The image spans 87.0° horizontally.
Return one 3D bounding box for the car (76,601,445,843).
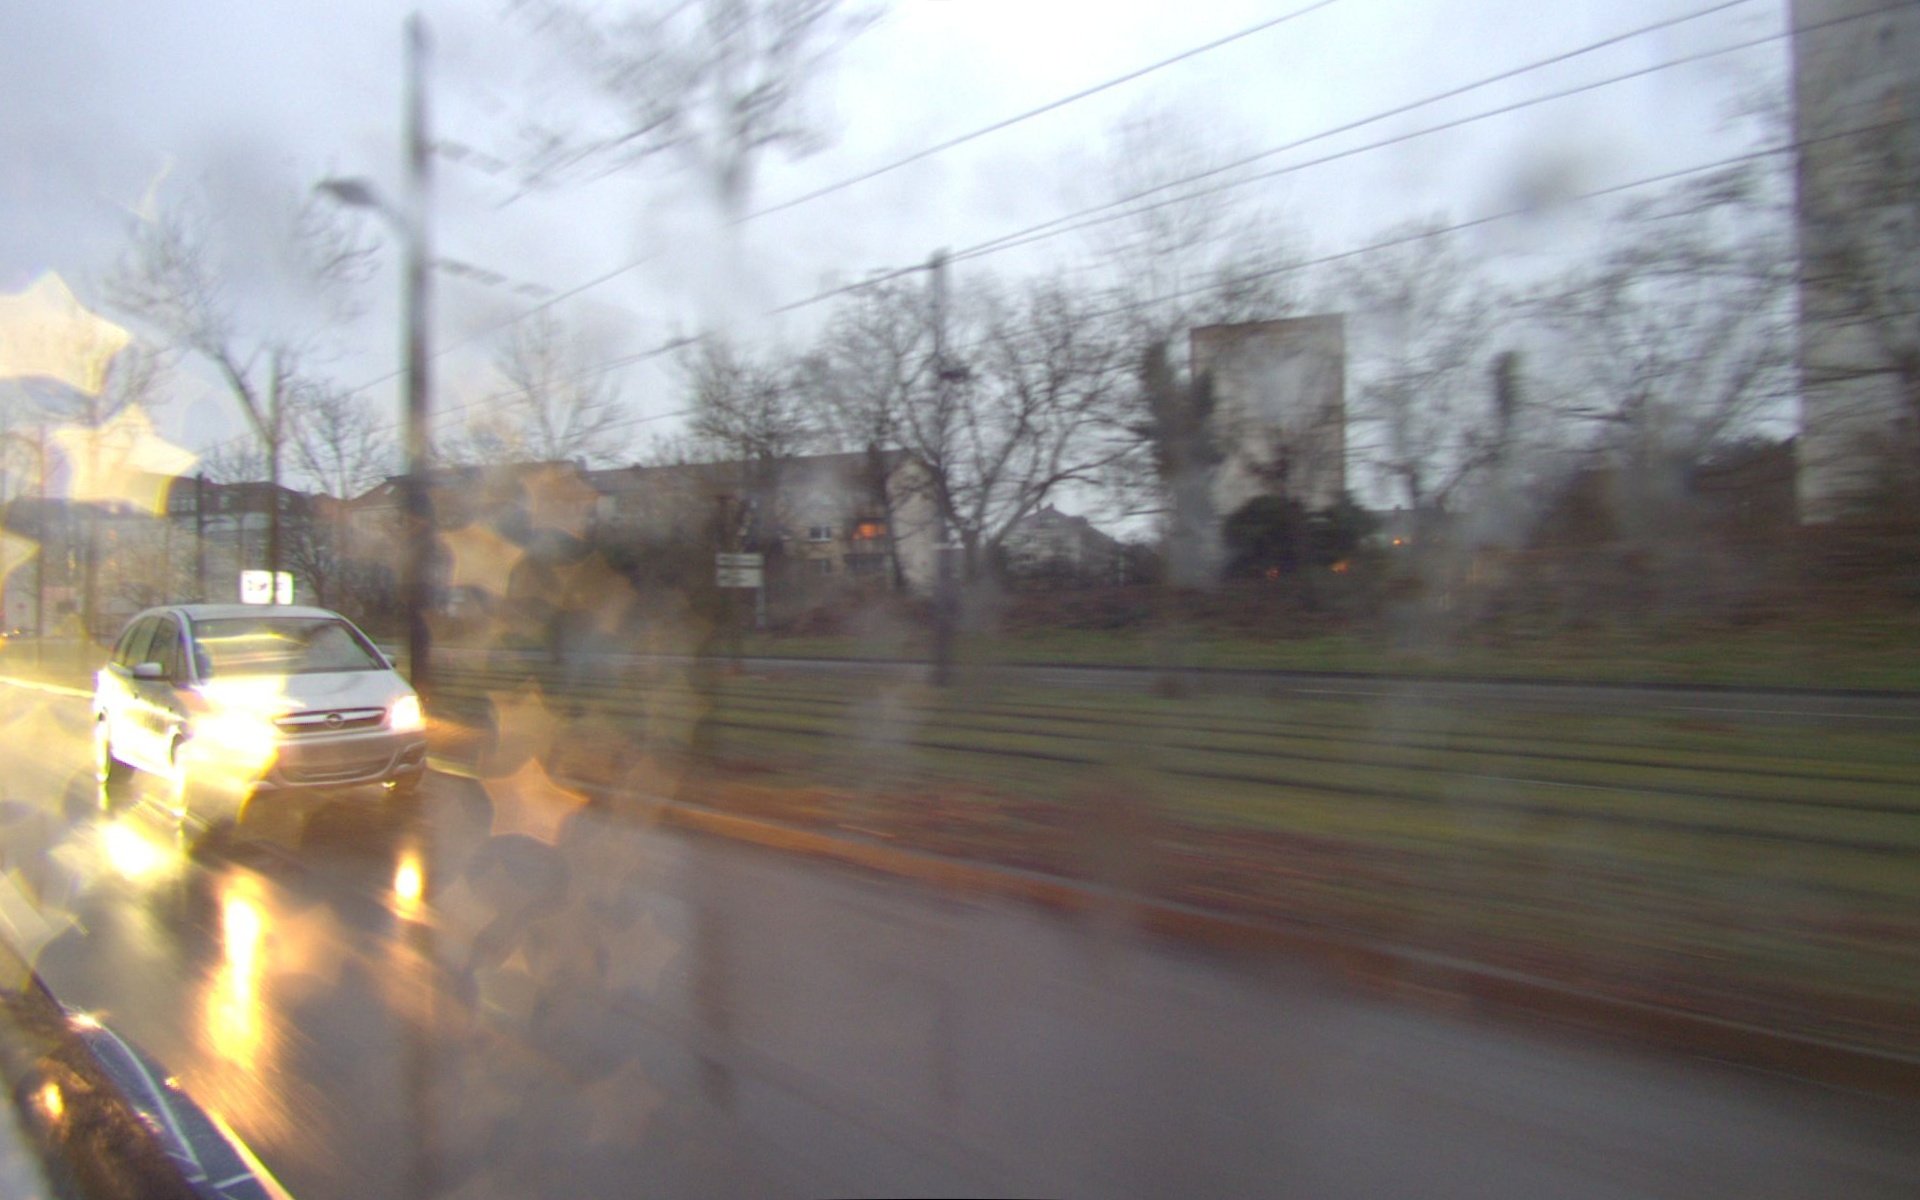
[{"bbox_3d":[-6.105,0.857,8.662,3.920,1.587,1.648,-2,0,41],"label":"car"}]
